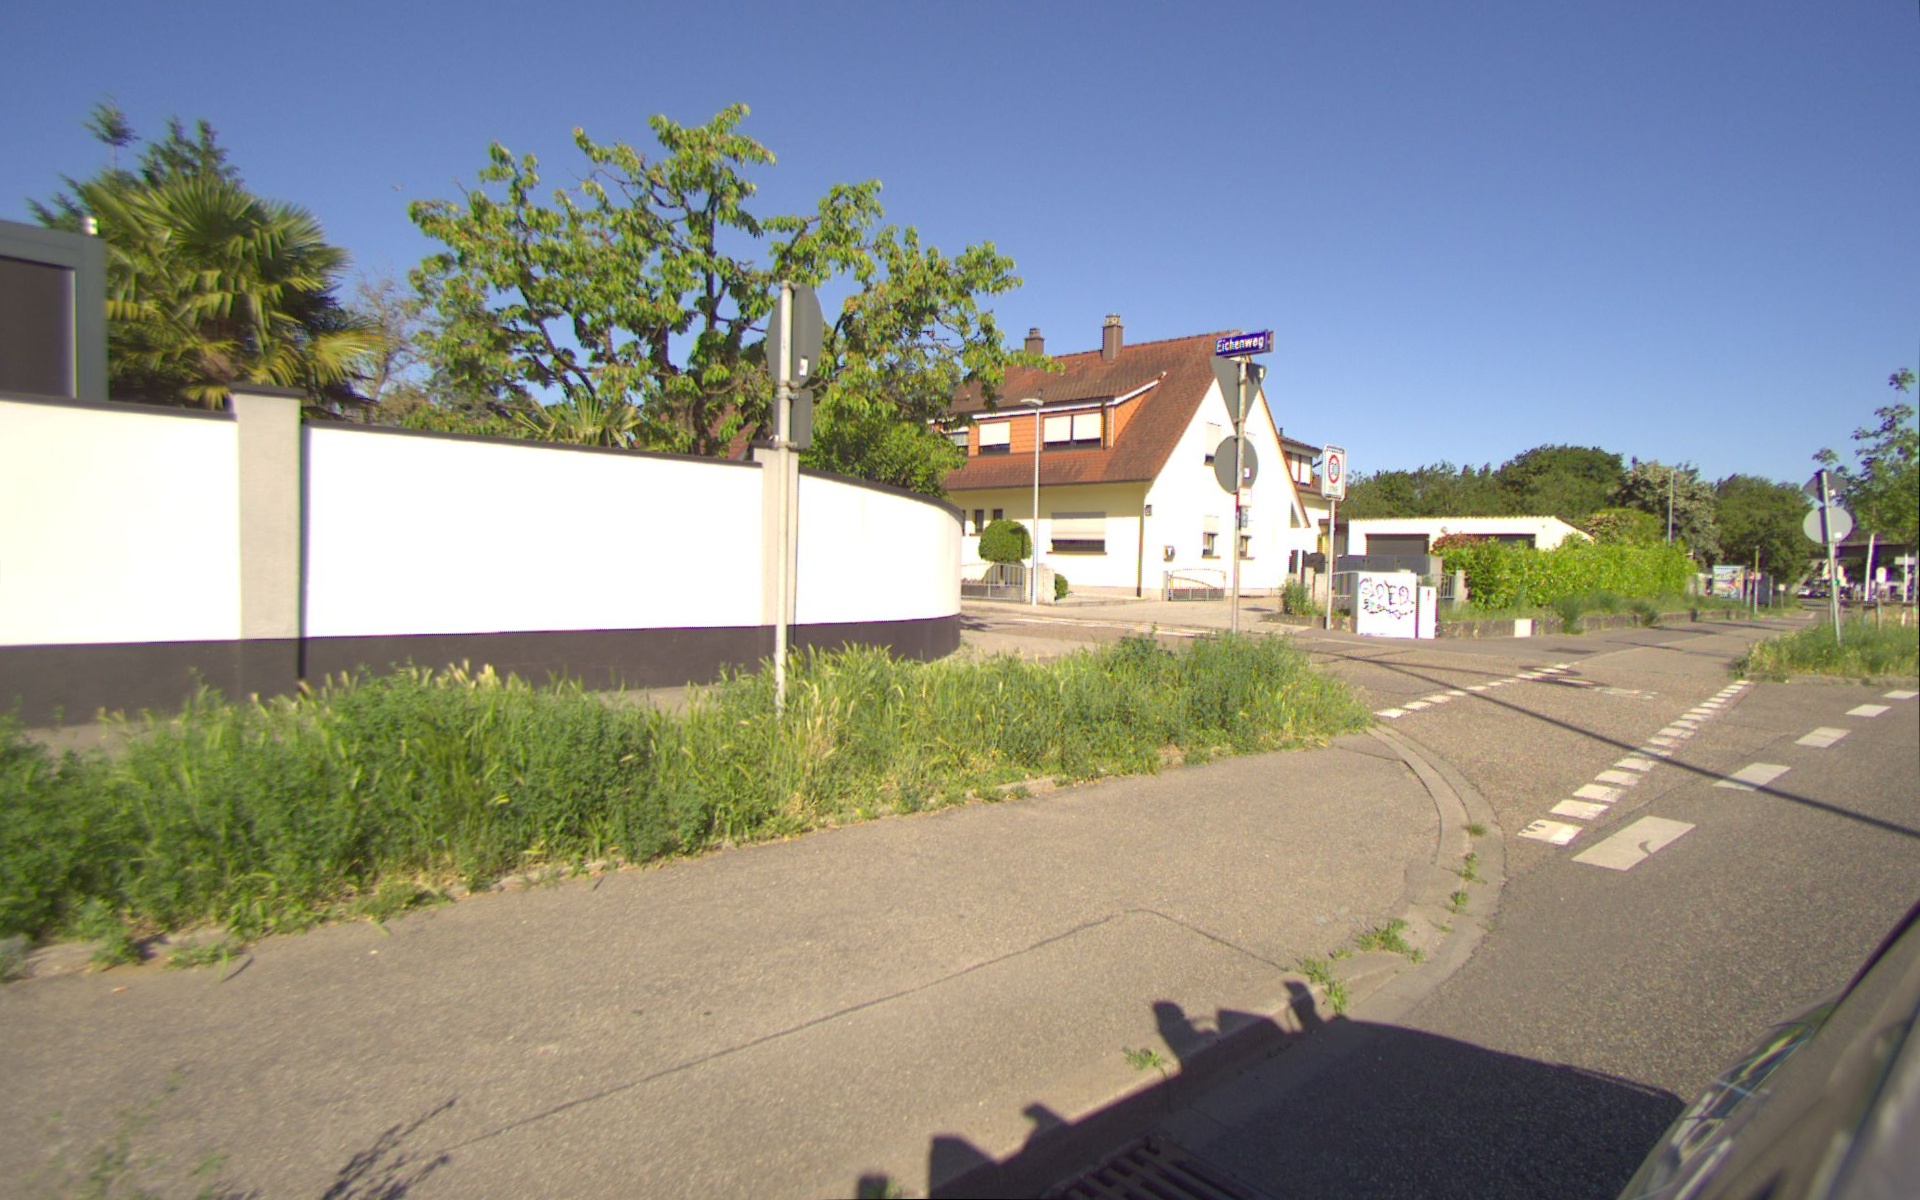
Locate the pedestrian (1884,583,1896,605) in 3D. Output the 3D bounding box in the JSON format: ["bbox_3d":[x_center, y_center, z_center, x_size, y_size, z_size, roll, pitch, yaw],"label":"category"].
[{"bbox_3d":[73.028,-0.485,79.459,0.587,1.682,0.706,3,2,39],"label":"pedestrian"}]
